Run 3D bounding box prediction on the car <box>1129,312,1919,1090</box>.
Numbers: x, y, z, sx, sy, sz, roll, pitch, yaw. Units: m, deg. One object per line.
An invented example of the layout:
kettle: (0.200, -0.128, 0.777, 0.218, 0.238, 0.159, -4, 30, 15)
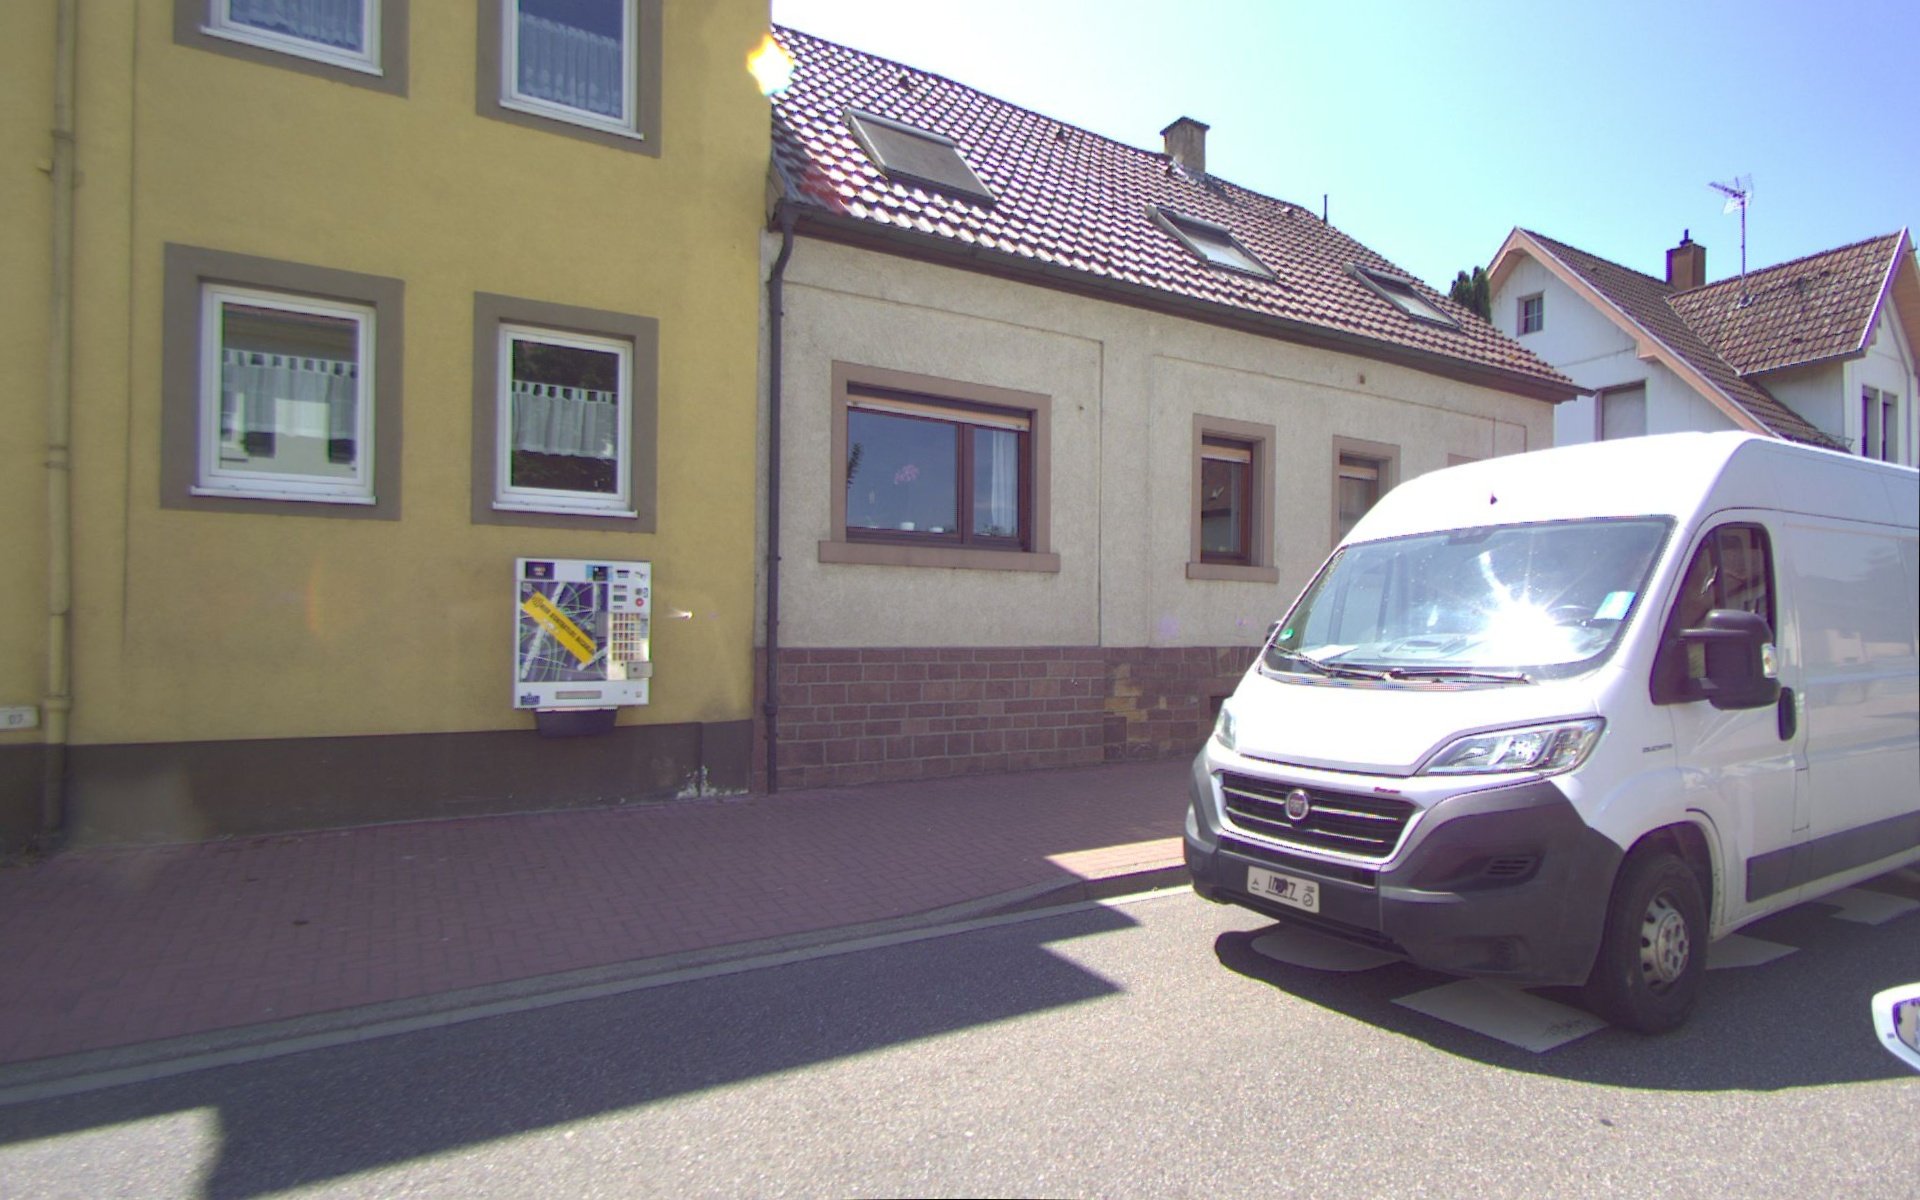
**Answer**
car: (3.894, 0.413, 5.671, 5.940, 2.487, 2.059, 2, -2, -32)
